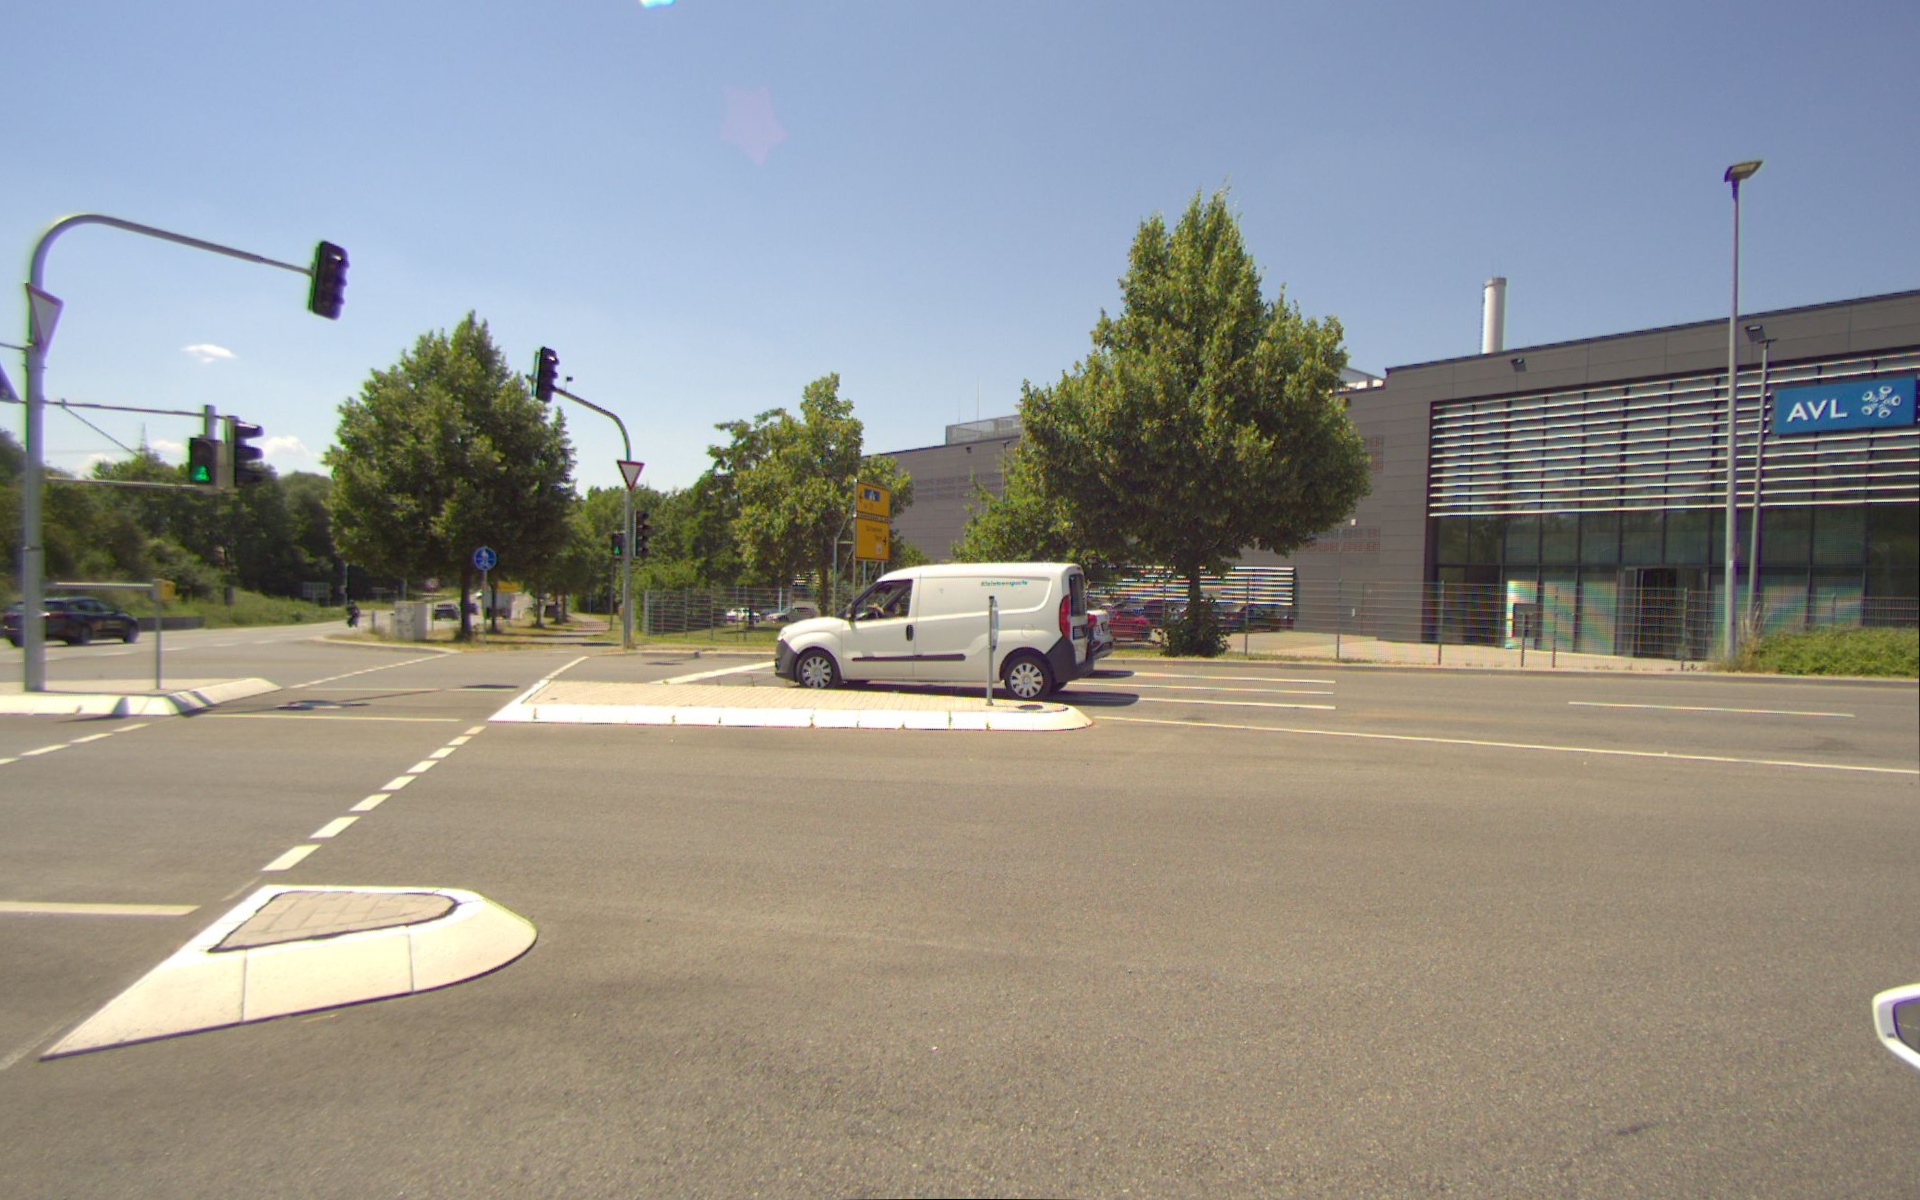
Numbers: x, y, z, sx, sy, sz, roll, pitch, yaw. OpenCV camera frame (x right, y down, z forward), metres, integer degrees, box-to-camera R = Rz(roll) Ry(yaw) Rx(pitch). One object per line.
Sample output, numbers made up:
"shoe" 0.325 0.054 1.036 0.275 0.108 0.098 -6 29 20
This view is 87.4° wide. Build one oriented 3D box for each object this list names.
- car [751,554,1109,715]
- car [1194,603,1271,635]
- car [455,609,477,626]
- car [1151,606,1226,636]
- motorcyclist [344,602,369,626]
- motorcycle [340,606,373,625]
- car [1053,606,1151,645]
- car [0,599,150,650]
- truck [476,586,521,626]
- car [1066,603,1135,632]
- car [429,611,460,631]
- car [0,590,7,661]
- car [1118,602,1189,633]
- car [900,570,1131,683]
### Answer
"car" -0.392 0.374 14.553 4.773 1.969 2.000 2 4 16
"car" 13.502 0.955 49.633 3.974 1.505 1.974 2 -2 -45
"car" -59.006 2.095 120.032 1.970 2.040 3.981 0 -2 -21
"car" 11.816 1.094 51.746 3.974 1.505 1.974 2 -2 -45
"motorcyclist" -36.644 0.858 60.977 0.859 1.430 1.175 0 -2 -5
"motorcycle" -36.633 0.945 60.986 0.847 1.157 2.168 0 0 -5
"car" 5.801 1.033 40.725 3.974 1.505 1.974 2 -2 -45
"car" -27.384 0.775 31.142 1.709 1.461 4.383 0 -2 -12
"truck" -46.183 0.661 100.659 3.224 3.890 6.181 0 -2 -17
"car" 8.047 0.965 57.224 3.974 1.537 1.895 -1 -1 -45
"car" -47.973 1.978 93.508 1.969 1.773 3.983 0 -2 -19
"car" -20.302 0.527 18.629 1.708 1.461 4.291 0 0 -10
"car" 10.339 0.953 53.563 3.974 1.549 1.796 2 -2 -45
"car" 1.041 0.393 18.056 3.787 1.730 2.000 2 4 16
